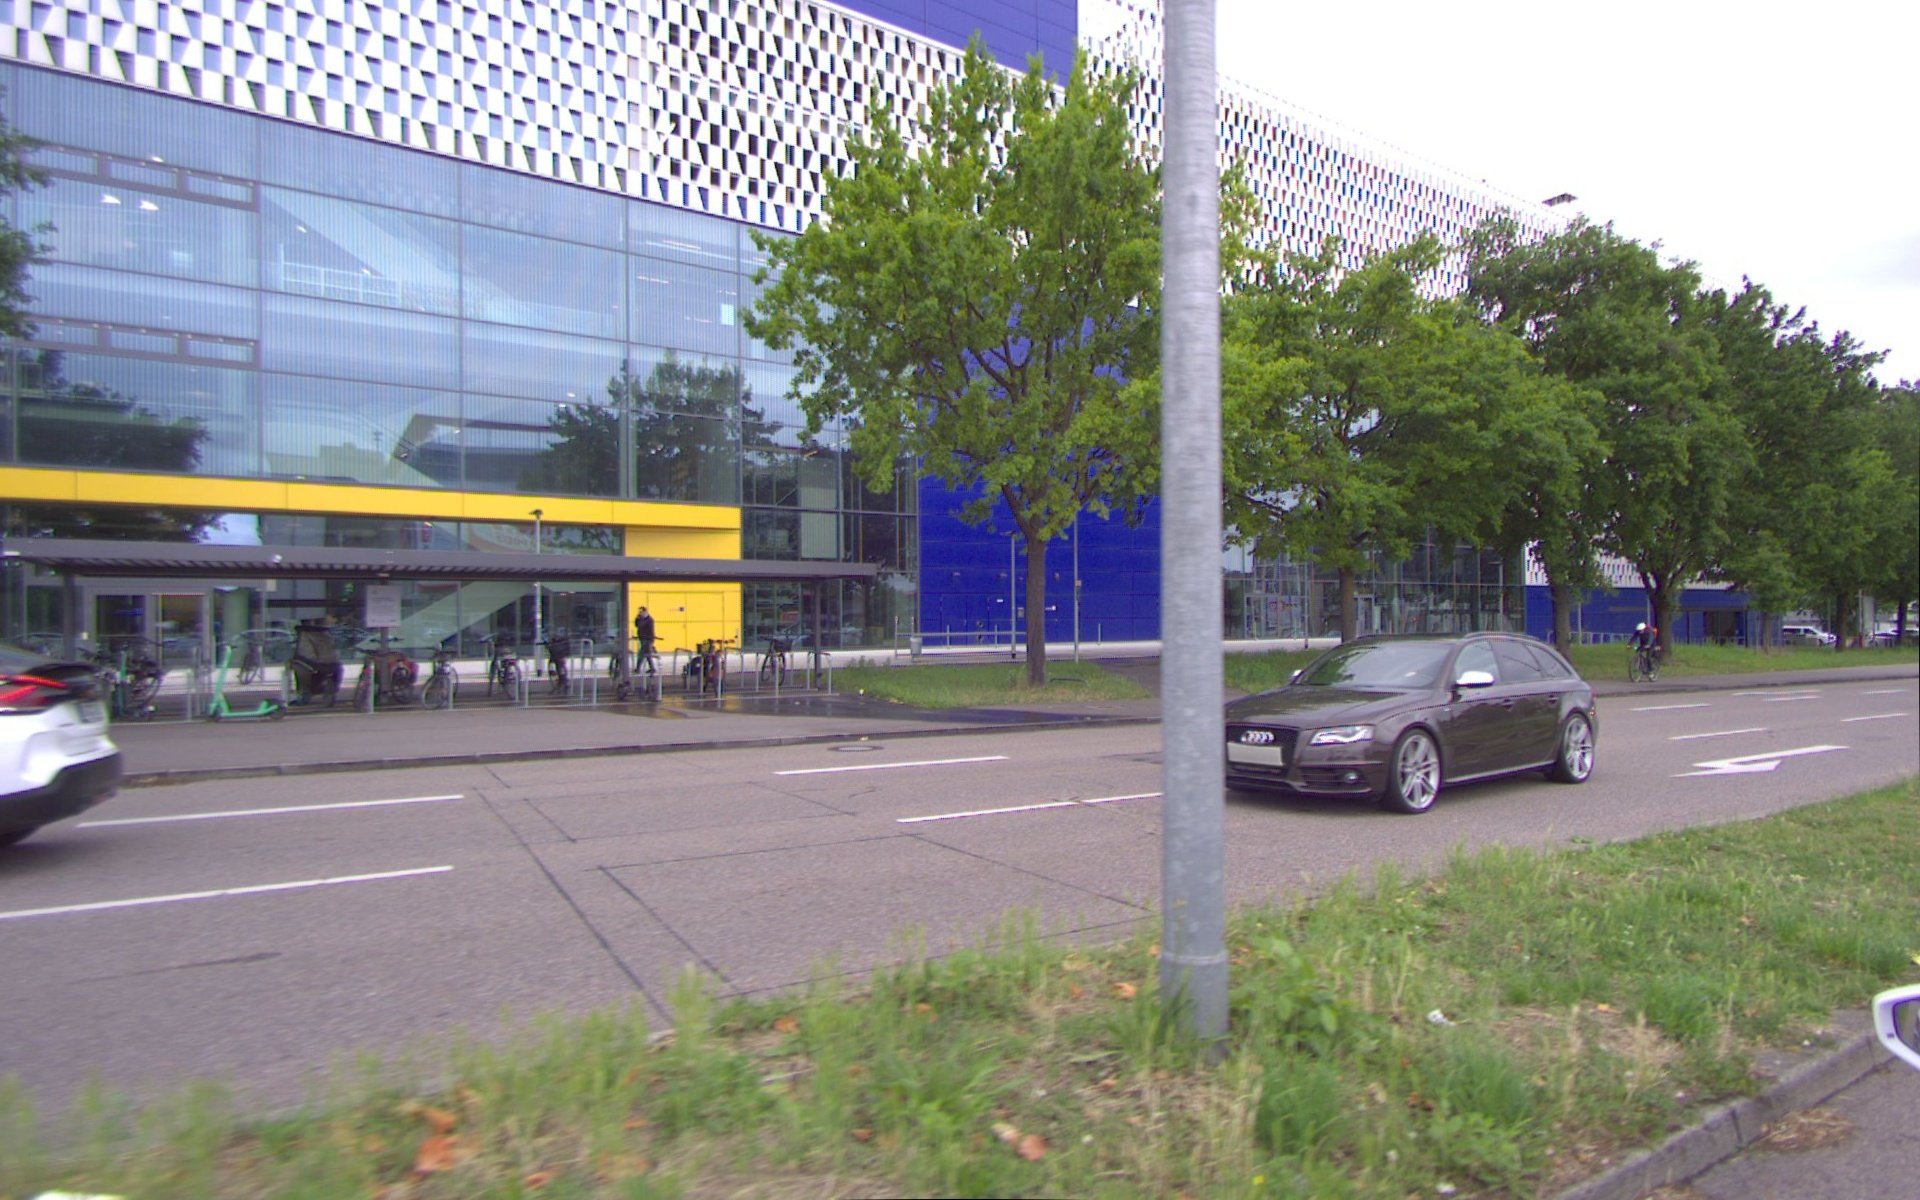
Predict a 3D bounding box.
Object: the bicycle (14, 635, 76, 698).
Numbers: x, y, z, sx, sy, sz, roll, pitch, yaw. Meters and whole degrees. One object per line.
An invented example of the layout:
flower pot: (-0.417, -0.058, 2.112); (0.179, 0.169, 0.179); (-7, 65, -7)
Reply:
bicycle: (-19.068, 1.352, 20.972); (0.587, 1.172, 2.005); (1, 0, -32)

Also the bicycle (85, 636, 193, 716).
bicycle: (-13.742, 1.242, 16.881); (0.583, 1.172, 2.016); (1, 0, -14)

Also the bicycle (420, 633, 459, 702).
bicycle: (-10.032, 1.261, 19.331); (0.587, 1.172, 2.006); (1, 1, -30)

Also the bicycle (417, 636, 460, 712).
bicycle: (-9.124, 1.261, 17.548); (0.587, 1.172, 1.885); (1, 1, -30)

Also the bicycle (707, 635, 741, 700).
bicycle: (-4.866, 1.356, 20.680); (0.584, 1.172, 2.015); (1, 0, -16)

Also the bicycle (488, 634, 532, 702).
bicycle: (-8.849, 1.299, 19.700); (0.587, 1.172, 2.006); (1, 1, -30)

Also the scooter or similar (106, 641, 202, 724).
scooter or similar: (-12.223, 1.244, 15.238); (1.266, 1.200, 0.359); (1, 0, 7)

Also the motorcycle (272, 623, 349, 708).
motorcycle: (-11.919, 1.146, 18.386); (0.794, 1.373, 2.469); (0, 1, -42)

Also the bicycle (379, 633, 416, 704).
bicycle: (-10.664, 1.261, 19.027); (0.587, 1.172, 2.006); (1, 1, -30)

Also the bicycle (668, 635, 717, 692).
bicycle: (-5.838, 1.360, 21.847); (0.587, 1.096, 1.801); (1, 1, -30)

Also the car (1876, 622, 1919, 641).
car: (95.416, 3.152, 101.052); (1.979, 1.734, 4.405); (-4, 1, -34)

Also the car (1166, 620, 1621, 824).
car: (4.105, 0.949, 9.241); (4.389, 1.455, 1.870); (1, -3, -36)

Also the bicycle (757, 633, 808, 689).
bicycle: (-4.126, 1.381, 23.250); (0.586, 1.137, 2.007); (1, 1, -28)

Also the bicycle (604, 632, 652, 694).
bicycle: (-7.108, 1.306, 21.443); (0.587, 1.172, 2.006); (1, 1, -30)

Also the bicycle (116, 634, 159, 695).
bicycle: (-17.777, 1.367, 21.692); (0.589, 1.172, 1.996); (0, 0, -43)

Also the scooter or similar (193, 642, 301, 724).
scooter or similar: (-10.743, 1.246, 15.158); (1.322, 1.164, 0.424); (1, 1, 1)

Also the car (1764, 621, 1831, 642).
car: (88.490, 3.329, 106.182); (1.860, 1.990, 5.101); (-3, 0, -33)

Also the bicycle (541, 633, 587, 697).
bicycle: (-8.198, 1.303, 20.759); (0.587, 1.172, 2.006); (1, 1, -30)

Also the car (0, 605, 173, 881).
car: (-7.229, 0.805, 5.637); (4.133, 1.538, 1.922); (2, -4, -30)

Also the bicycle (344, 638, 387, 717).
bicycle: (-10.021, 1.270, 16.964); (0.587, 1.172, 1.885); (1, 1, -30)

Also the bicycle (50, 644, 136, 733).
bicycle: (-12.877, 1.273, 14.964); (0.587, 1.172, 2.006); (1, -1, -30)

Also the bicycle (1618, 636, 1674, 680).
bicycle: (21.287, 1.783, 31.155); (2.033, 1.267, 0.639); (1, 0, -31)

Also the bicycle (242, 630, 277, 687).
bicycle: (-16.001, 1.318, 22.929); (0.588, 1.172, 2.001); (1, 0, -36)

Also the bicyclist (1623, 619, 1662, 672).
bicyclist: (21.249, 1.407, 31.258); (0.989, 1.598, 0.637); (0, 0, -31)

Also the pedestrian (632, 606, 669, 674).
pedestrian: (-8.140, 1.036, 26.380); (0.799, 1.769, 0.674); (0, 0, -31)
